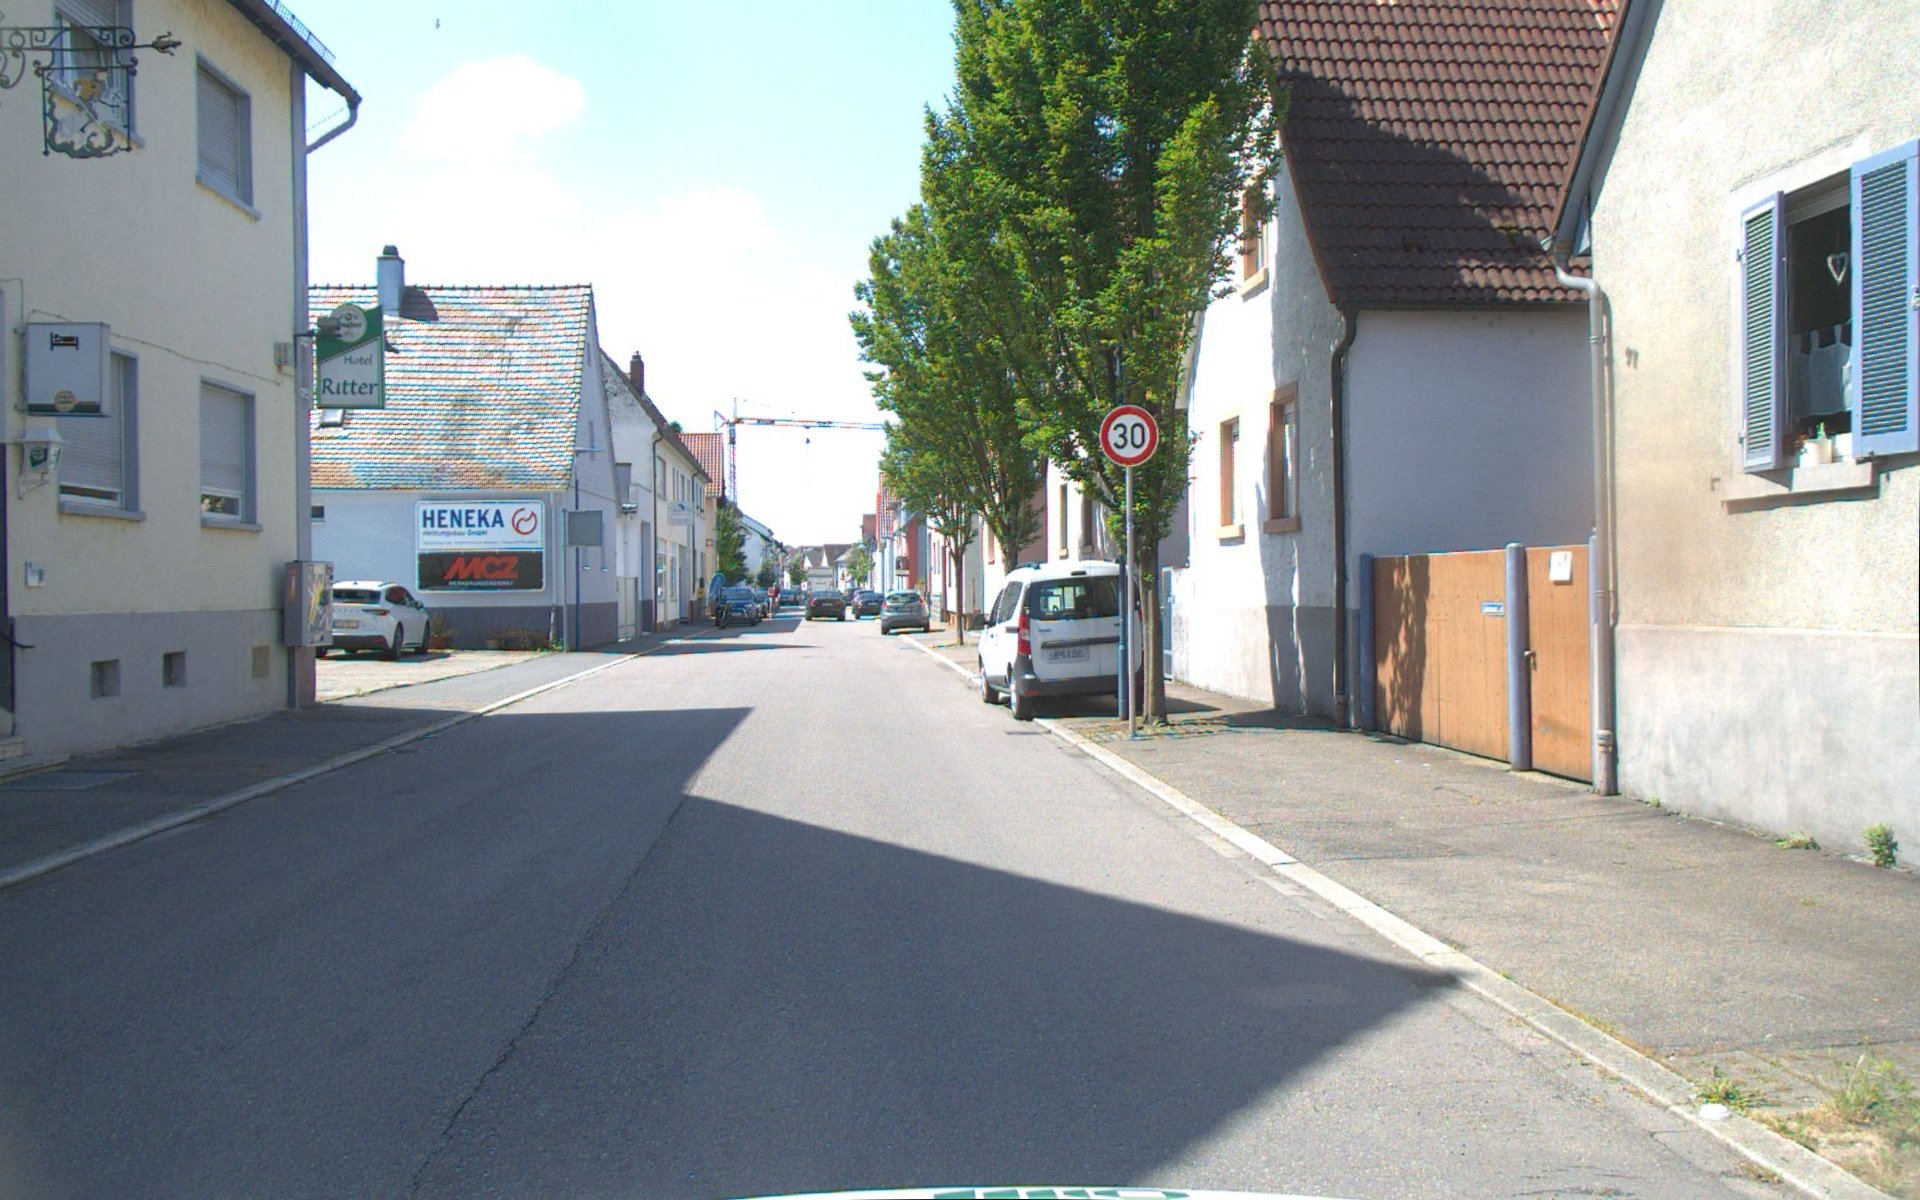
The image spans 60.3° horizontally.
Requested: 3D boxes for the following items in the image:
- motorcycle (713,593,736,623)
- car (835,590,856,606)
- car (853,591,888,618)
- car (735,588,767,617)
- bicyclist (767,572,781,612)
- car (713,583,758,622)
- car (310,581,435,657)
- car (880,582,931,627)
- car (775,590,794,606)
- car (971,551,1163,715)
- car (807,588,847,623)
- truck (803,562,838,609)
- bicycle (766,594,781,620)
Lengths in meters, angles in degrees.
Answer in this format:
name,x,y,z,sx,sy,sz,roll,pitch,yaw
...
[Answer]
name,x,y,z,sx,sy,sz,roll,pitch,yaw
motorcycle,-9.618,0.322,67.518,0.830,1.190,2.466,1,0,-6
car,-9.317,-0.189,134.608,1.686,1.291,4.152,0,0,-5
car,-4.697,0.205,85.983,1.686,1.379,4.152,0,0,-5
car,-12.132,0.129,96.160,1.774,1.617,3.995,0,0,-6
bicyclist,-9.712,-0.406,86.404,0.726,2.095,0.843,1,0,-6
car,-9.683,0.103,71.572,1.774,1.617,3.995,0,0,-6
car,-12.863,0.384,36.453,1.687,1.583,4.193,1,0,-7
car,-1.928,0.128,57.729,1.685,1.487,4.154,0,0,-3
car,-17.608,-0.224,166.027,1.774,1.617,3.995,0,0,-6
car,1.260,0.361,21.213,1.687,1.821,4.138,-2,1,-7
car,-6.432,0.241,80.129,1.864,1.591,4.473,0,1,-4
truck,-13.337,-1.363,158.301,3.083,4.325,9.294,1,0,-4
bicycle,-9.721,0.338,86.378,0.736,1.331,2.682,1,0,-6
